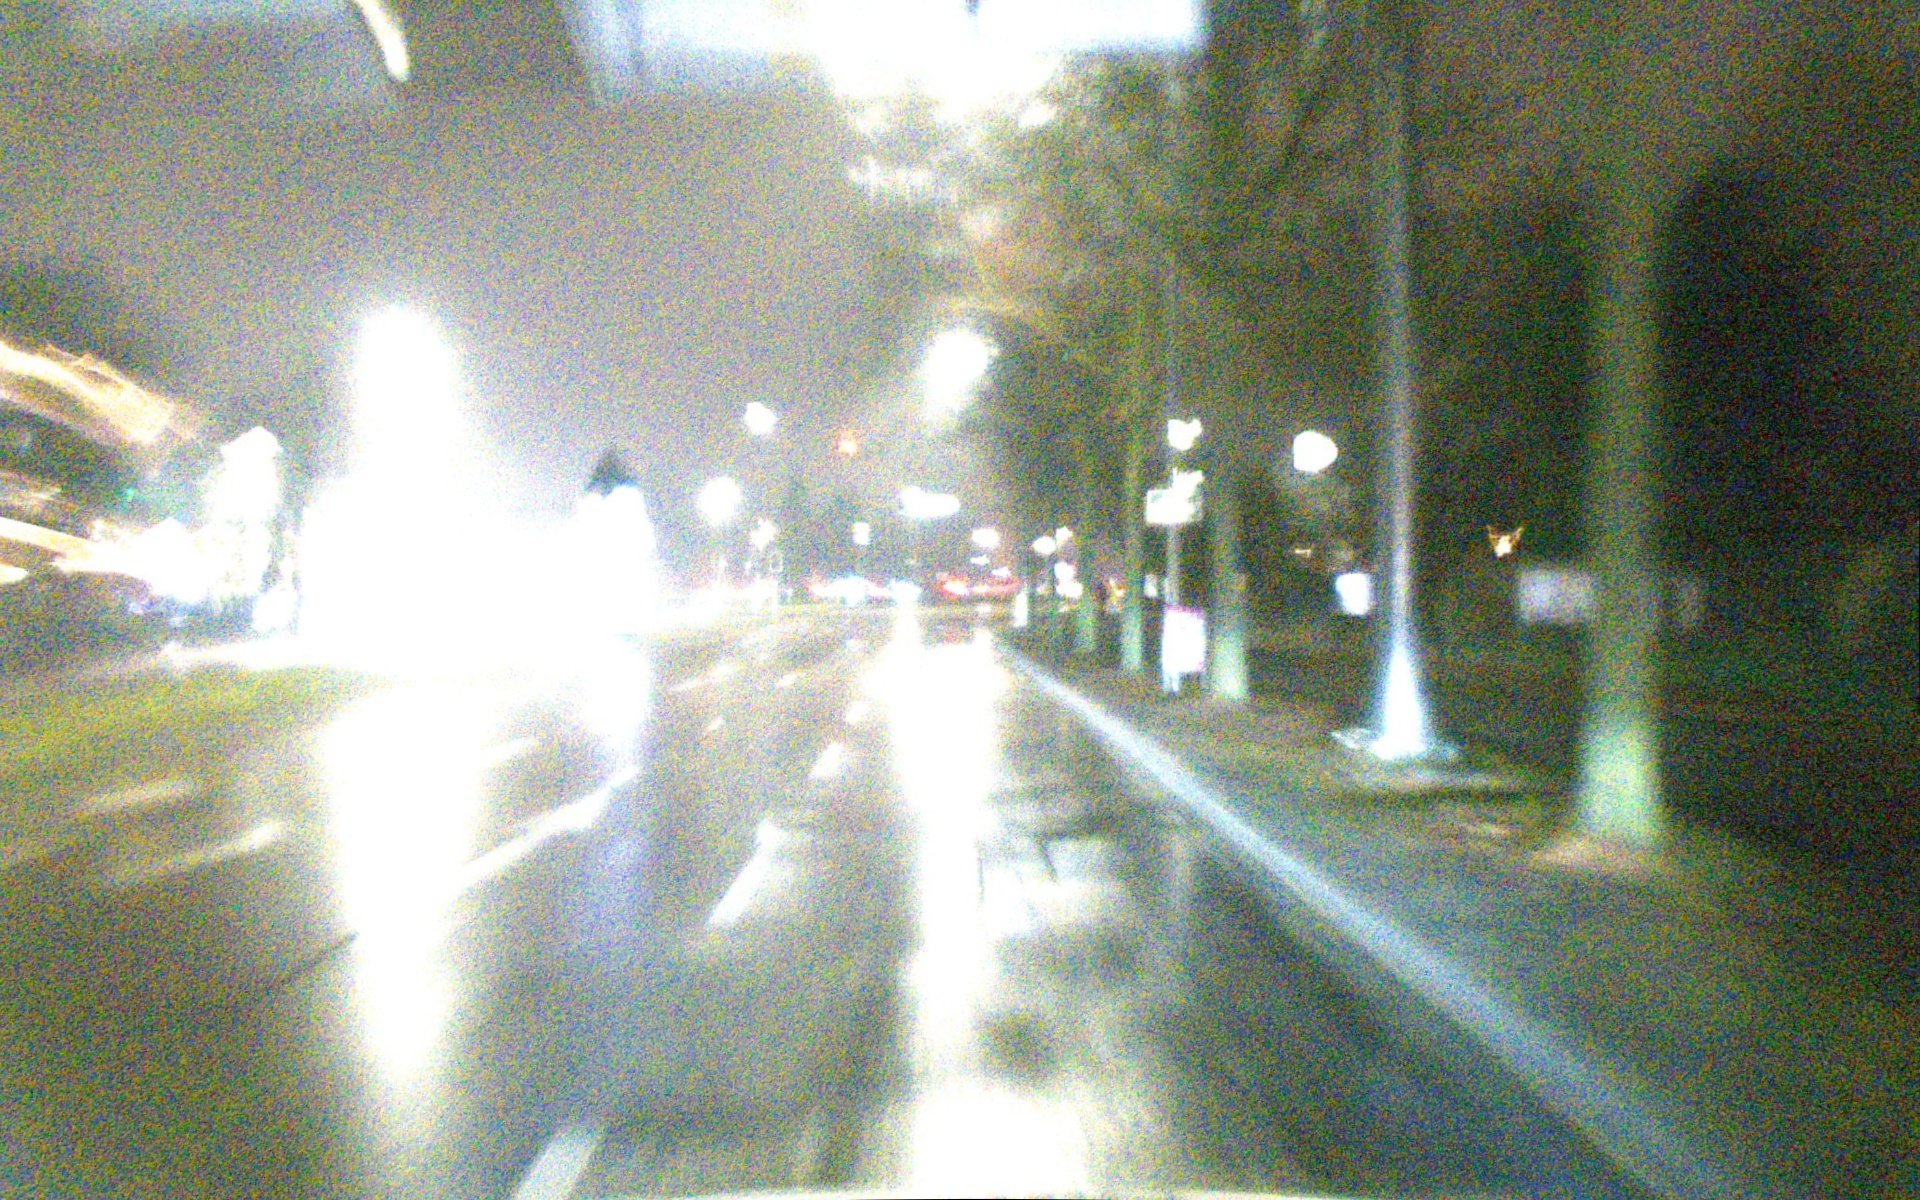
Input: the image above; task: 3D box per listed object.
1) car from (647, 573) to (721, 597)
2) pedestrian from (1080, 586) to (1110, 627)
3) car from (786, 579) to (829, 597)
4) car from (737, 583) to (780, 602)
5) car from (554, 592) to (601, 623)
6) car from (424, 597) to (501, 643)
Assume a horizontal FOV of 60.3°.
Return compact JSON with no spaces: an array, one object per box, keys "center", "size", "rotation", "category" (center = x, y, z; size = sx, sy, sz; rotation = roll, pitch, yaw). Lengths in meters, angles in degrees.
[{"center":[-25.140,-1.340,150.837],"size":[6.215,2.125,2.495],"rotation":[0,1,-26],"category":"car"},{"center":[6.125,0.284,74.913],"size":[1.202,1.825,1.490],"rotation":[0,0,-1],"category":"pedestrian"},{"center":[-14.045,-1.123,152.536],"size":[3.873,1.606,1.736],"rotation":[0,0,-4],"category":"car"},{"center":[-18.656,-0.691,152.889],"size":[3.912,1.644,1.834],"rotation":[0,0,-8],"category":"car"},{"center":[-19.663,0.365,84.904],"size":[1.803,1.490,3.975],"rotation":[0,1,-21],"category":"car"},{"center":[-19.851,0.775,66.156],"size":[1.792,1.743,4.440],"rotation":[1,1,-1],"category":"car"}]
